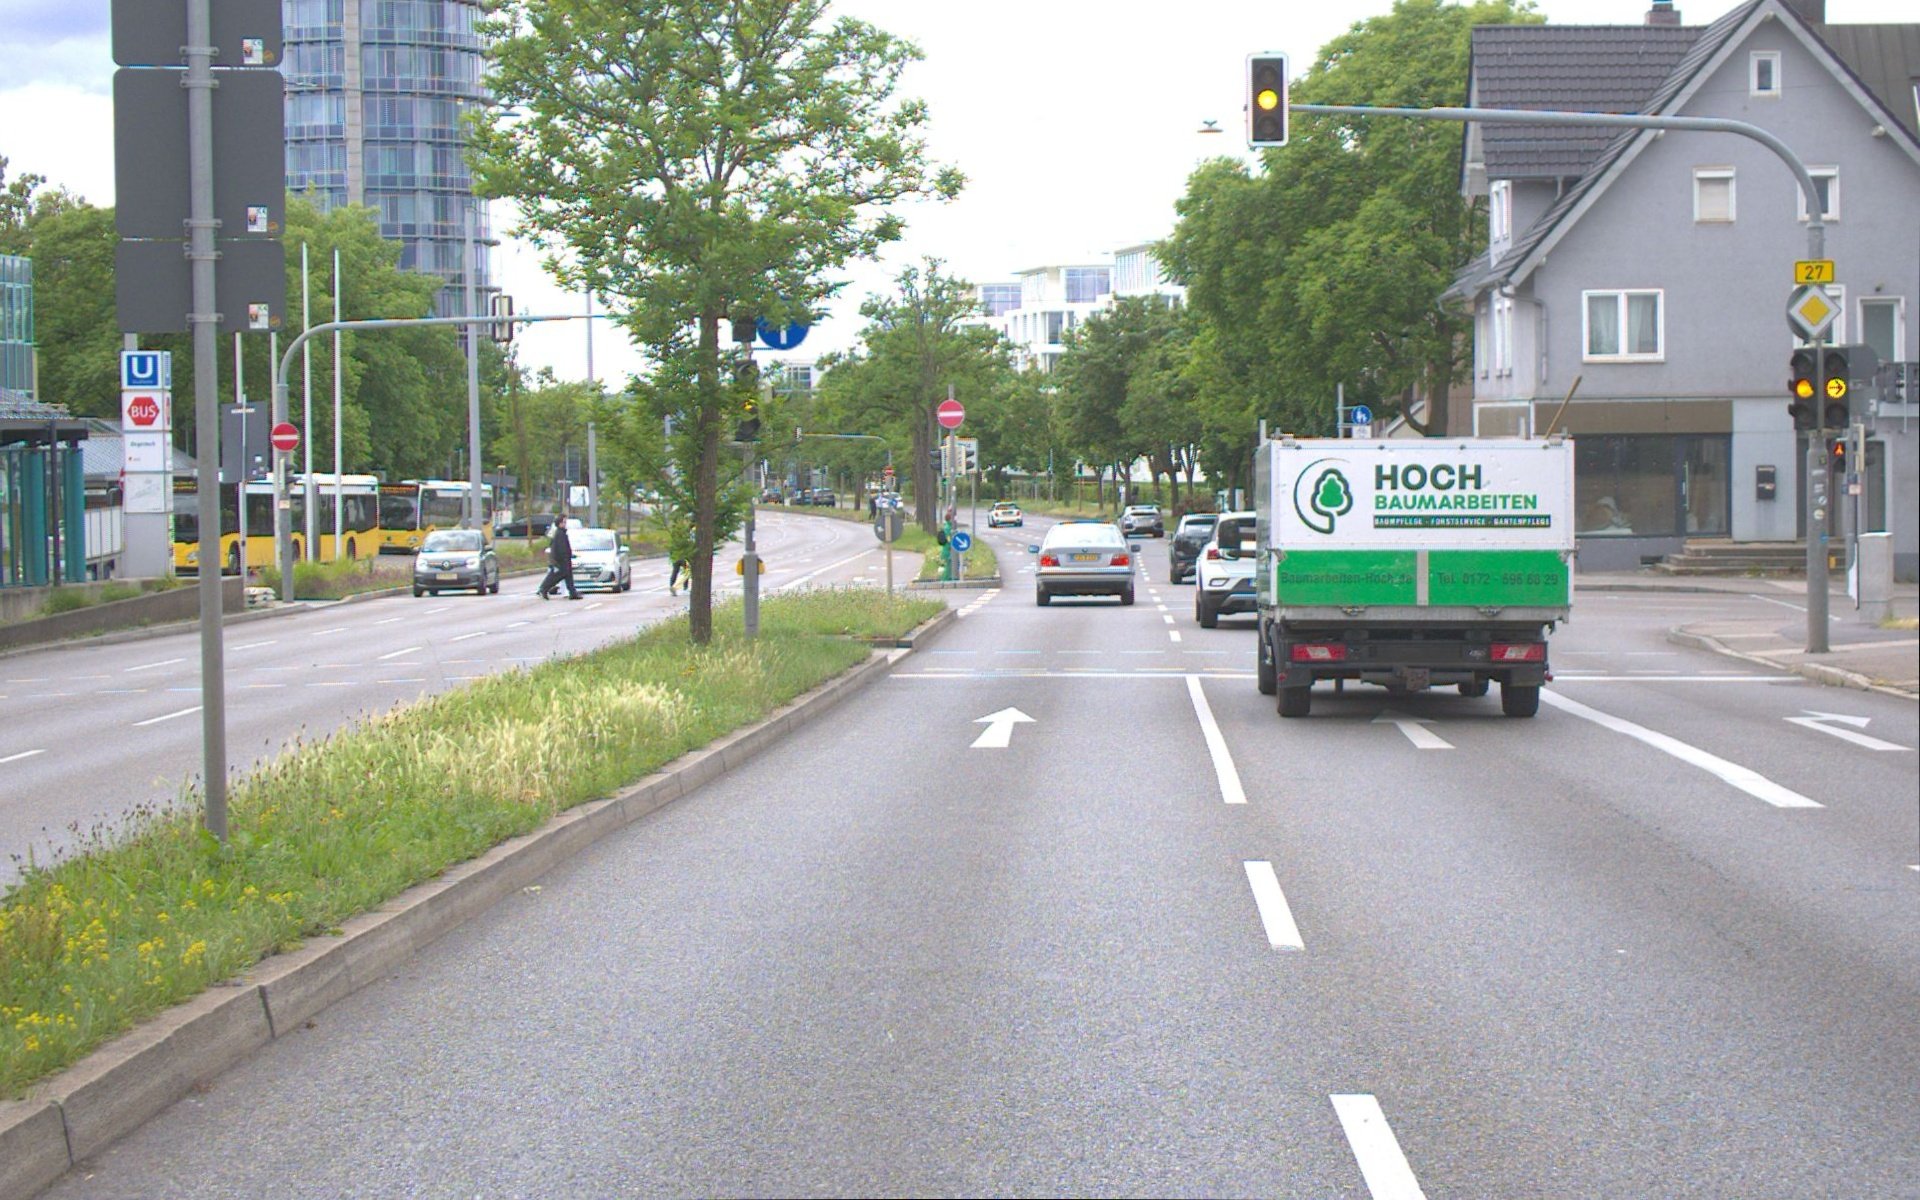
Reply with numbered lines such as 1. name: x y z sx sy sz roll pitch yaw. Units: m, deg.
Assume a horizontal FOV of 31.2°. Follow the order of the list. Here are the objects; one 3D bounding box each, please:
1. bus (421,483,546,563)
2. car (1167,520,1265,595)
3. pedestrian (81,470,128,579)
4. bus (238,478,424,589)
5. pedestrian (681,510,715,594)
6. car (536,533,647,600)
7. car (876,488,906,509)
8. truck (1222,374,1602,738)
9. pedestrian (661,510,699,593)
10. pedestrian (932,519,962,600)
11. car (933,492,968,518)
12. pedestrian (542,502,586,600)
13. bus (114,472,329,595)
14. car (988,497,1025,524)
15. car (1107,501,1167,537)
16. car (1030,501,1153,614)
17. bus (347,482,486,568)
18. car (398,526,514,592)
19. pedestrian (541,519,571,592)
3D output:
1. bus: -21.435 -3.470 155.204 2.832 3.419 10.731 -1 1 7
2. car: 5.498 -0.935 74.147 1.994 1.546 4.000 0 1 3
3. pedestrian: -15.920 -1.410 64.016 0.681 2.007 0.646 -1 1 -1
4. bus: -20.471 -2.178 112.616 2.832 3.419 10.731 -1 1 7
5. pedestrian: -5.402 -0.999 70.876 0.653 1.710 0.452 -1 1 -4
6. car: -8.550 -0.796 80.075 1.993 1.481 4.000 -1 1 2
7. car: -5.194 -7.633 259.107 1.993 1.514 4.001 -1 1 -4
8. truck: 3.493 -0.445 27.980 2.471 2.602 6.548 0 2 2
9. pedestrian: -5.827 -1.009 71.466 0.745 1.710 0.583 -1 1 -4
10. pedestrian: -0.289 -0.871 74.025 0.583 1.710 0.546 -1 1 -4
11. car: -0.575 -5.678 205.029 1.993 1.514 4.000 -1 1 -1
12. pedestrian: -8.169 -1.016 70.892 0.830 2.007 0.546 -1 1 -4
13. bus: -21.887 -1.981 102.639 2.832 3.419 10.731 -1 1 7
14. car: 2.662 -5.144 198.343 1.993 1.514 4.000 -1 1 -1
15. car: 7.767 -3.553 150.974 1.993 1.546 4.001 -1 1 -6
16. car: 2.238 -0.740 57.938 1.994 1.824 4.000 0 1 3
17. bus: -22.741 -3.159 144.530 2.832 3.419 10.731 -1 1 7
18. car: -11.803 -0.975 80.694 1.993 1.481 4.000 -1 1 2
19. pedestrian: -8.428 -0.931 71.683 0.543 1.491 0.487 -1 1 -2
